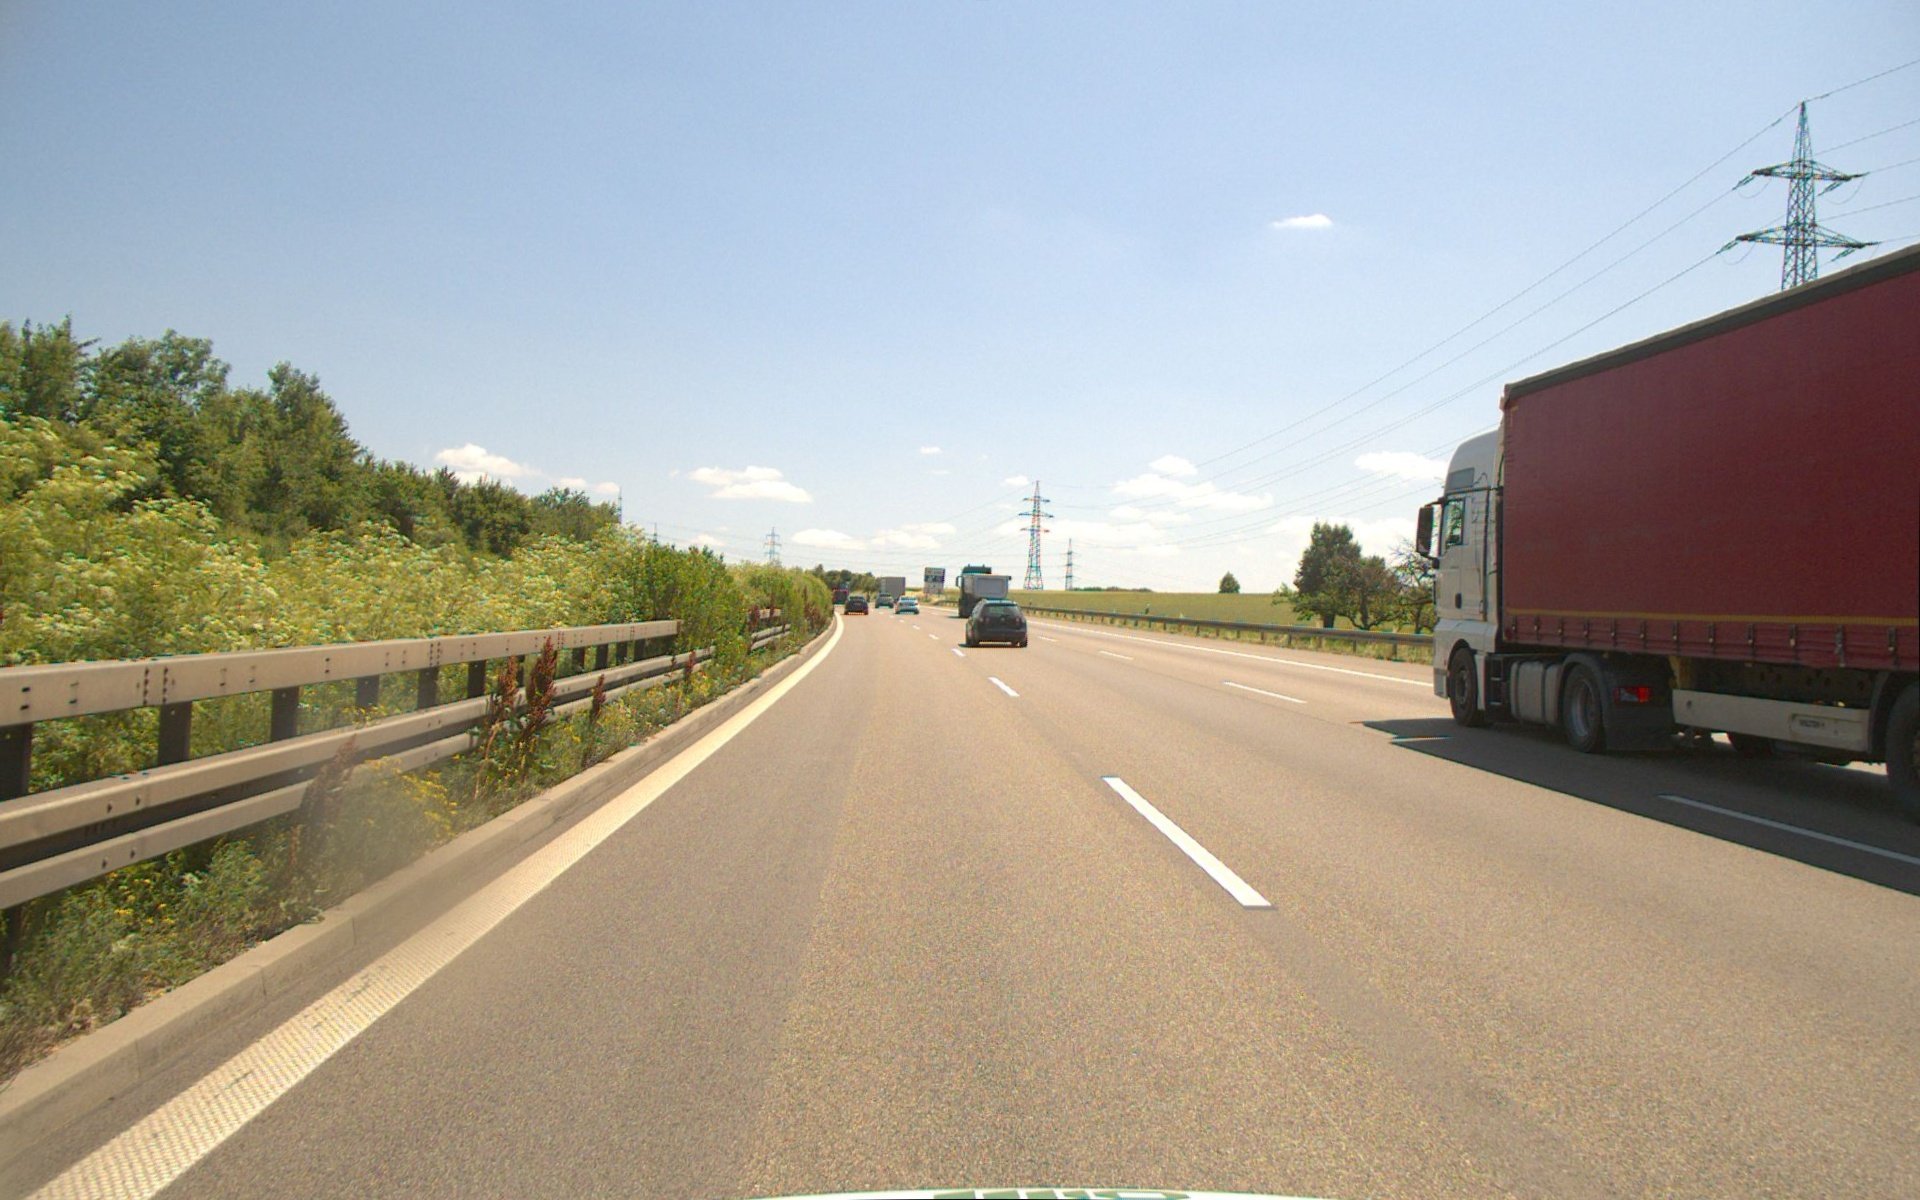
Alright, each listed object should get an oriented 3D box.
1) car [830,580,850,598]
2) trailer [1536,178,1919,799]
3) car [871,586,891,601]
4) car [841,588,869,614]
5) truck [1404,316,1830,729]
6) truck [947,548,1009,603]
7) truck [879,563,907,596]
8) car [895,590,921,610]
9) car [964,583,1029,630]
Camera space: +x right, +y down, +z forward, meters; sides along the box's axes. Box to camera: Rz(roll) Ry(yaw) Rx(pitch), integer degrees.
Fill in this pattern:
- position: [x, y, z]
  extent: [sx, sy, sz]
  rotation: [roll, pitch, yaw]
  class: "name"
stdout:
- position: [-13.065, -1.185, 179.671]
  extent: [1.867, 1.959, 3.991]
  rotation: [0, 0, -10]
  class: "car"
- position: [7.962, -0.777, 12.196]
  extent: [2.548, 4.338, 13.029]
  rotation: [0, 0, -2]
  class: "trailer"
- position: [-8.158, -0.668, 170.811]
  extent: [1.804, 1.567, 3.908]
  rotation: [0, 0, -8]
  class: "car"
- position: [-7.950, 0.085, 124.840]
  extent: [1.955, 1.892, 3.995]
  rotation: [0, 0, -5]
  class: "car"
- position: [7.604, -0.804, 20.127]
  extent: [2.509, 4.226, 6.246]
  rotation: [0, 0, -2]
  class: "truck"
- position: [1.192, -1.699, 120.649]
  extent: [2.811, 3.789, 12.742]
  rotation: [0, 0, -7]
  class: "truck"
- position: [-8.562, -2.550, 210.327]
  extent: [3.158, 3.993, 9.050]
  rotation: [1, -1, -5]
  class: "truck"
- position: [-4.151, -0.039, 131.983]
  extent: [1.785, 1.567, 3.908]
  rotation: [0, 0, -7]
  class: "car"
- position: [1.132, 0.197, 53.256]
  extent: [1.722, 1.454, 3.996]
  rotation: [0, 0, -4]
  class: "car"
